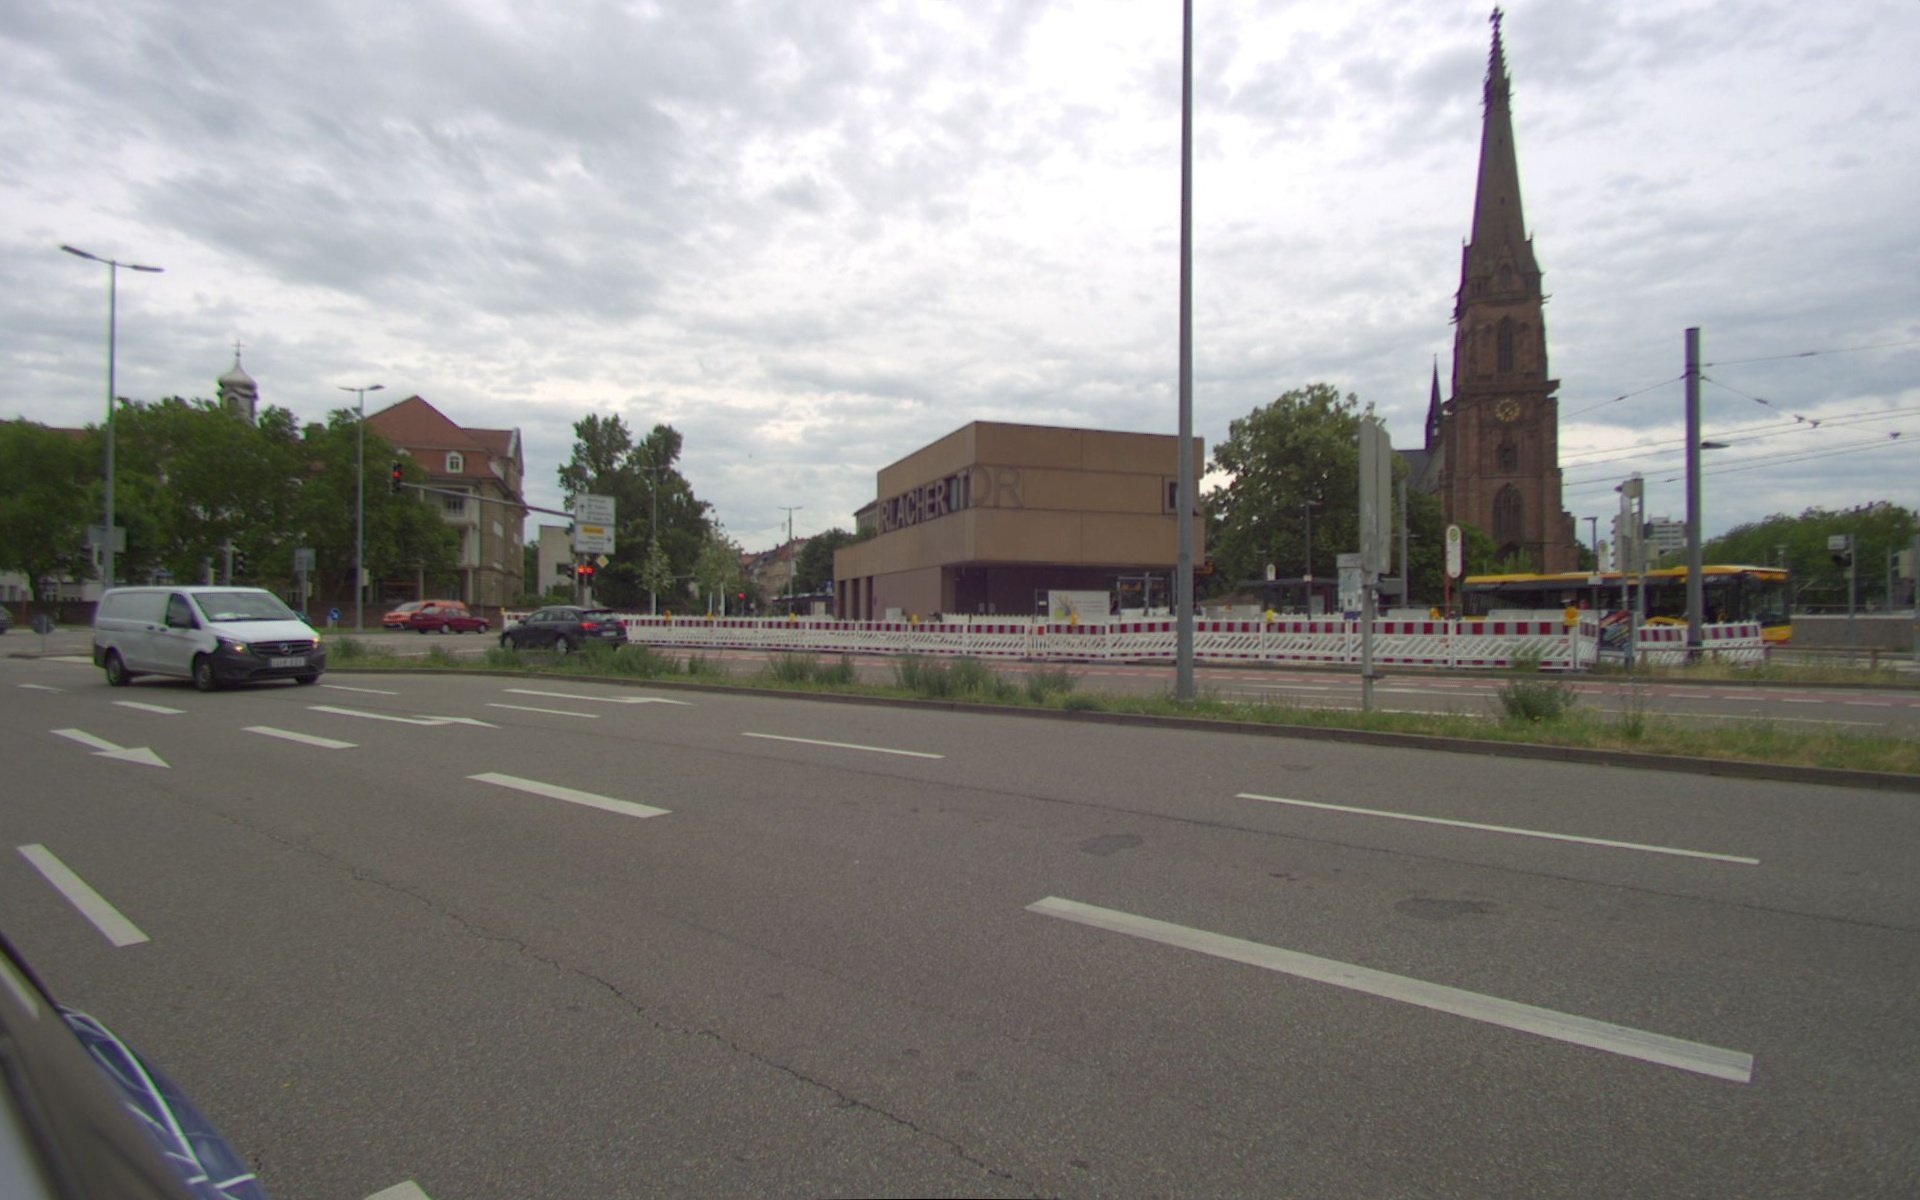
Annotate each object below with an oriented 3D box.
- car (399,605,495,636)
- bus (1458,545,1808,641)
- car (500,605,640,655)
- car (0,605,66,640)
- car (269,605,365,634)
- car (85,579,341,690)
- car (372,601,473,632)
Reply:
[{"bbox_3d":[-26.770,1.084,52.958,1.901,1.552,4.312,-1,-1,24],"label":"car"},{"bbox_3d":[24.863,-0.221,38.794,2.816,3.100,12.057,-1,0,-17],"label":"bus"},{"bbox_3d":[-11.725,0.887,30.378,3.988,1.409,1.978,-1,-1,33],"label":"car"},{"bbox_3d":[-49.261,1.161,52.479,3.940,1.741,2.002,-1,0,-4],"label":"car"},{"bbox_3d":[-36.982,1.113,58.288,1.906,1.552,4.302,-1,-1,30],"label":"car"},{"bbox_3d":[-14.216,0.603,19.204,5.065,1.896,1.905,-1,0,28],"label":"car"},{"bbox_3d":[-30.756,0.946,58.126,1.899,1.730,5.207,-1,-1,20],"label":"car"}]
